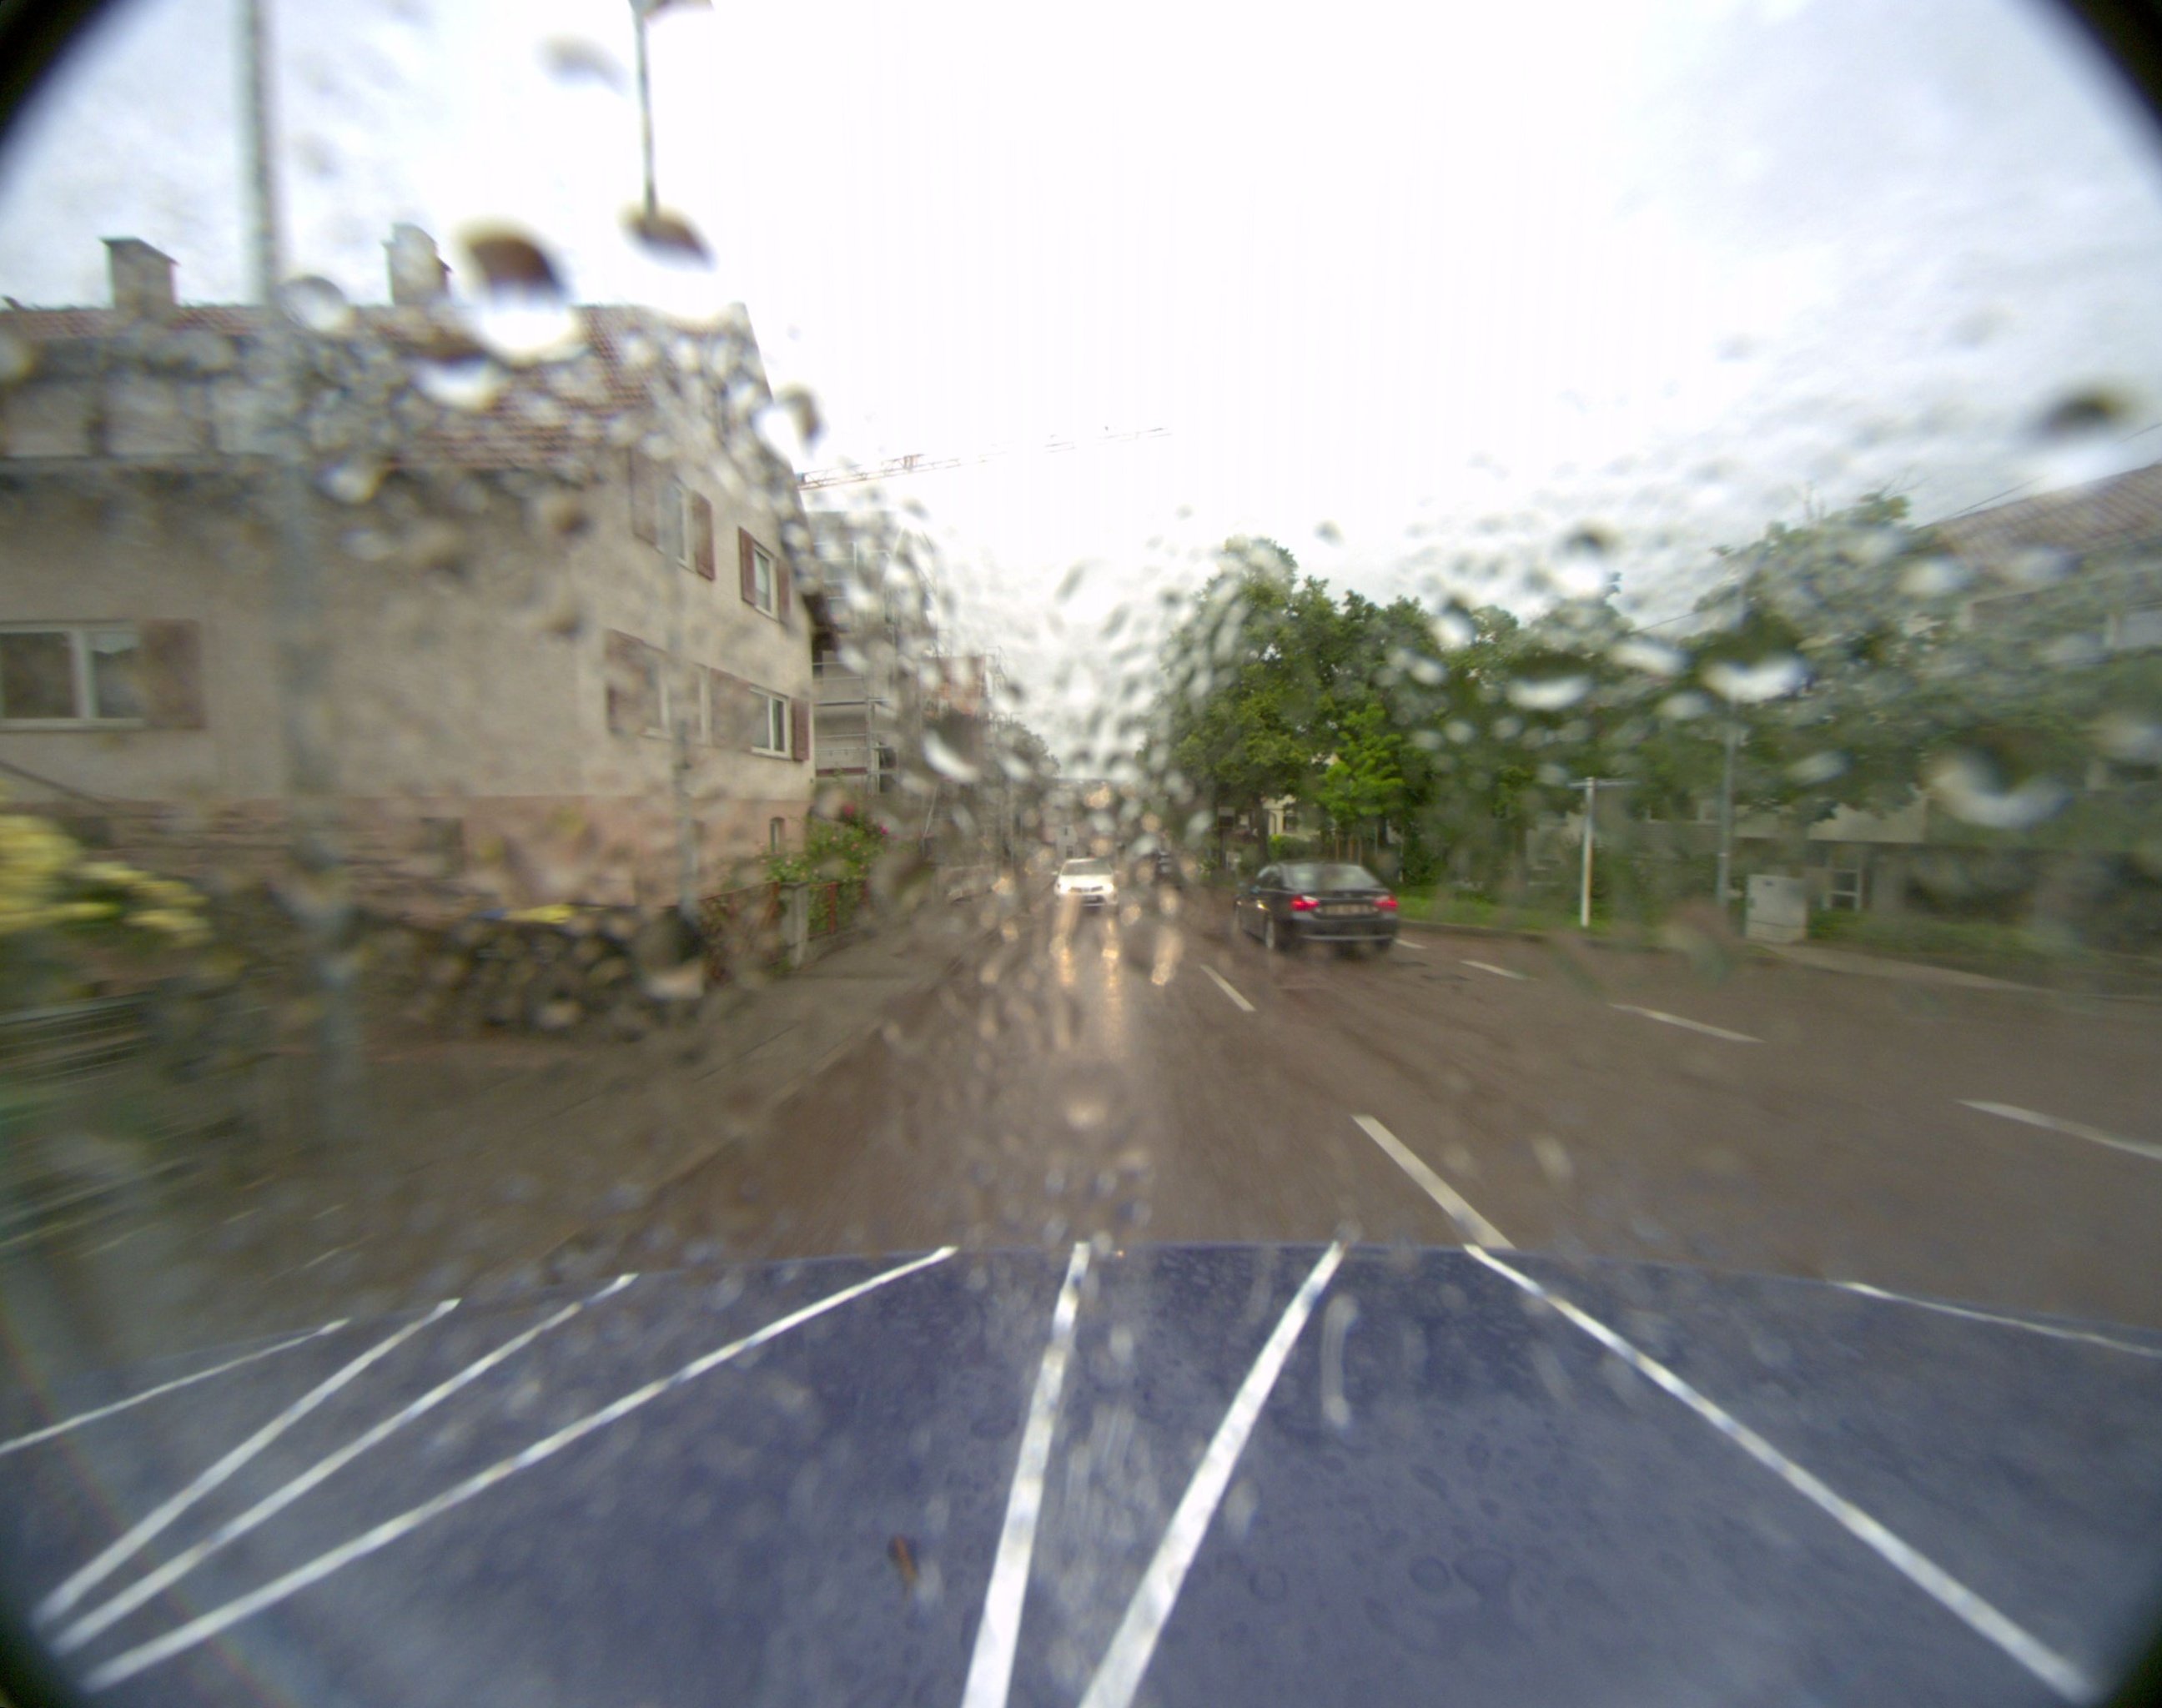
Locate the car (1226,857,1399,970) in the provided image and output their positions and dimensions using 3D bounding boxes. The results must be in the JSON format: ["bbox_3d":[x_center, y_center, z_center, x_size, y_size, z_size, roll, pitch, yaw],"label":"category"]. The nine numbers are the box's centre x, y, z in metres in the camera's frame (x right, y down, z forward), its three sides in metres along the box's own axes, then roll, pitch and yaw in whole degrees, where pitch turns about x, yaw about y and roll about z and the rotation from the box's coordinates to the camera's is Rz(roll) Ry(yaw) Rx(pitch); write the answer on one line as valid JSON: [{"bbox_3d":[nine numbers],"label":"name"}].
[{"bbox_3d":[3.476,0.802,12.160,1.564,1.446,4.084,-1,0,1],"label":"car"}]

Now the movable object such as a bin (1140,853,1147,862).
[{"bbox_3d":[6.783,0.417,82.860,0.518,0.935,0.500,-2,1,-25],"label":"movable object such as a bin"}]

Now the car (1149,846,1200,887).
[{"bbox_3d":[4.204,0.527,34.599,1.755,1.679,4.375,-1,0,0],"label":"car"}]

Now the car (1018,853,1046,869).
[{"bbox_3d":[-5.330,0.765,82.746,1.896,1.606,4.132,-2,0,-20],"label":"car"}]

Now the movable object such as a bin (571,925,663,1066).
[{"bbox_3d":[-3.639,1.095,5.983,0.380,1.012,0.487,-1,1,1],"label":"movable object such as a bin"}]

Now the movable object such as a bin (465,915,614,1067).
[{"bbox_3d":[-4.337,1.068,6.140,0.611,1.070,0.792,2,1,-1],"label":"movable object such as a bin"}]

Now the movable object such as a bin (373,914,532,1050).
[{"bbox_3d":[-5.244,1.042,6.389,0.611,0.961,0.792,5,0,-1],"label":"movable object such as a bin"}]

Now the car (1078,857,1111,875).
[{"bbox_3d":[1.160,1.021,66.640,1.771,1.432,4.058,-2,0,-15],"label":"car"}]

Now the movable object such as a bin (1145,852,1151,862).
[{"bbox_3d":[7.324,0.311,83.045,0.546,1.117,0.516,-2,1,-25],"label":"movable object such as a bin"}]

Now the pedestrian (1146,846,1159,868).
[{"bbox_3d":[6.243,0.267,66.438,0.971,1.820,0.894,-2,1,-8],"label":"pedestrian"}]

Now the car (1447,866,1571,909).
[{"bbox_3d":[15.122,1.147,27.036,2.001,1.321,3.443,-2,0,-14],"label":"car"}]

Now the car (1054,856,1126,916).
[{"bbox_3d":[0.223,0.857,22.067,1.859,1.427,4.016,-2,1,-1],"label":"car"}]

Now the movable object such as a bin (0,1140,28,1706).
[{"bbox_3d":[-2.409,1.074,1.066,0.721,1.046,0.800,-1,1,4],"label":"movable object such as a bin"}]

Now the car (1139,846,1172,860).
[{"bbox_3d":[8.401,-0.122,85.945,1.729,1.524,3.991,-2,0,-26],"label":"car"}]
